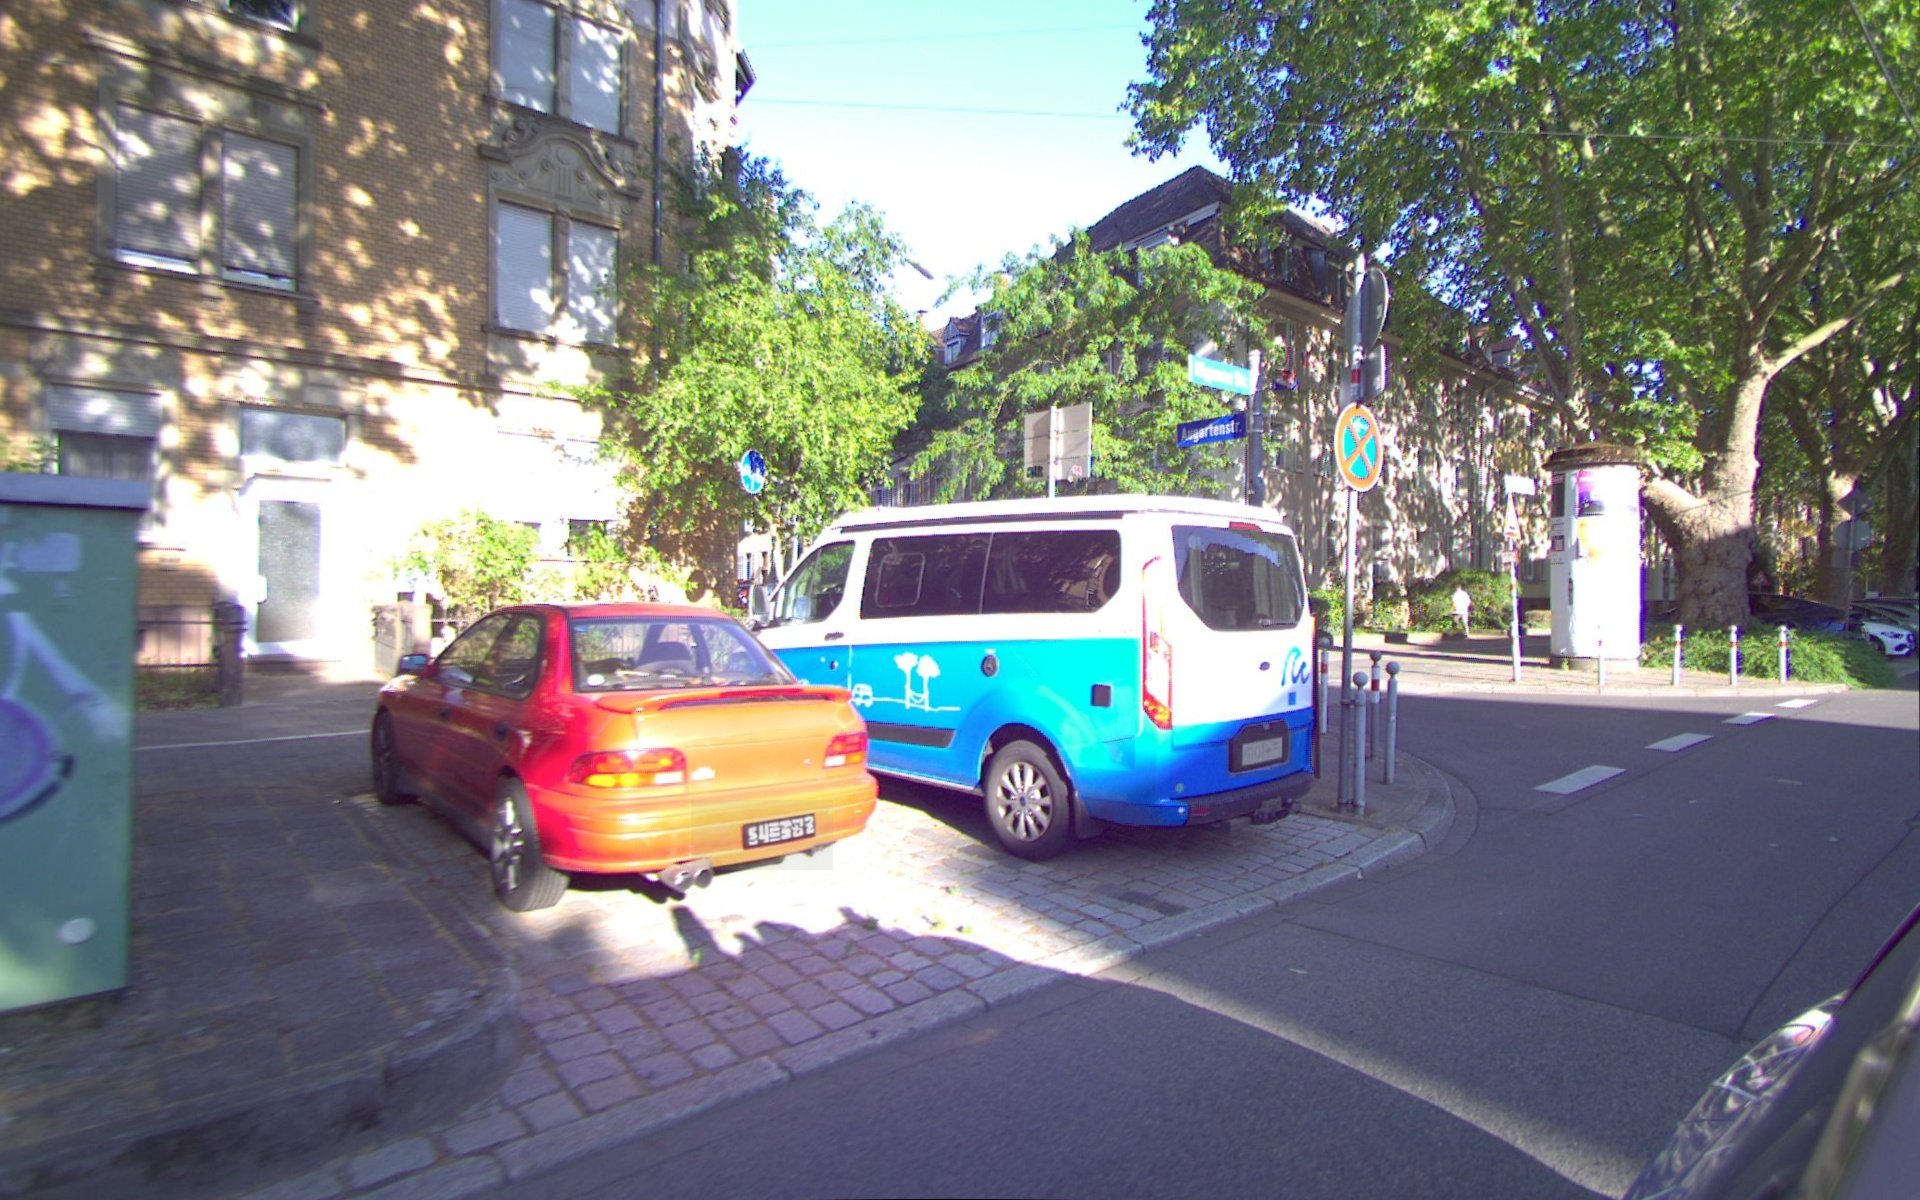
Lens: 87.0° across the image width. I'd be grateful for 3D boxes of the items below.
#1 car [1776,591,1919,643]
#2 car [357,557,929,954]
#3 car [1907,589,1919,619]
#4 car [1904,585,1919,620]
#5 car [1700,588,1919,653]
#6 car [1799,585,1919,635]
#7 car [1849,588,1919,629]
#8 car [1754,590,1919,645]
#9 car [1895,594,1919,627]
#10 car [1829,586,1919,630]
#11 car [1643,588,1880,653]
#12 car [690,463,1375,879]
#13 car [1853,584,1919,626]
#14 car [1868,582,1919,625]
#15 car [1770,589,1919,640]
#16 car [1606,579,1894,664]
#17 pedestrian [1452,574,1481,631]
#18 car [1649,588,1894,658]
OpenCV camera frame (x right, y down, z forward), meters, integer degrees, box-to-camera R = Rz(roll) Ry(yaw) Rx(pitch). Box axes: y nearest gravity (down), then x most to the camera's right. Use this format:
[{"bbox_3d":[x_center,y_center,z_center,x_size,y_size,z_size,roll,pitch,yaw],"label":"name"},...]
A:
[{"bbox_3d":[29.407,0.532,32.533,1.858,1.513,4.614,1,1,-37],"label":"car"},{"bbox_3d":[-2.083,0.540,5.907,1.760,1.506,3.788,0,2,-42],"label":"car"},{"bbox_3d":[58.024,0.277,58.460,1.858,1.737,4.614,1,1,-37],"label":"car"},{"bbox_3d":[52.769,0.188,53.024,1.858,1.814,4.614,1,1,-37],"label":"car"},{"bbox_3d":[23.039,0.496,27.320,1.858,1.513,4.614,1,1,-37],"label":"car"},{"bbox_3d":[32.556,0.348,35.422,1.858,1.661,4.614,1,1,-37],"label":"car"},{"bbox_3d":[40.447,0.380,42.352,1.858,1.661,4.614,1,1,-37],"label":"car"},{"bbox_3d":[27.619,0.517,31.192,1.858,1.513,4.614,1,1,-37],"label":"car"},{"bbox_3d":[50.973,0.583,51.579,1.858,1.661,4.614,1,1,-37],"label":"car"},{"bbox_3d":[37.410,0.342,39.812,1.858,1.661,4.614,1,1,-37],"label":"car"},{"bbox_3d":[20.728,0.472,26.360,1.858,1.462,4.511,1,1,-37],"label":"car"},{"bbox_3d":[0.180,0.251,7.464,2.158,2.038,4.851,0,2,-43],"label":"car"},{"bbox_3d":[42.197,0.246,44.102,1.858,1.814,4.614,1,1,-37],"label":"car"},{"bbox_3d":[46.648,0.198,48.307,1.858,2.039,4.639,1,1,-37],"label":"car"},{"bbox_3d":[30.788,0.465,34.519,1.858,1.585,4.614,1,1,-37],"label":"car"},{"bbox_3d":[17.594,0.414,22.759,1.859,1.652,4.808,1,1,-40],"label":"car"},{"bbox_3d":[16.049,0.084,32.073,0.630,1.790,0.620,0,0,4],"label":"pedestrian"},{"bbox_3d":[19.393,0.495,24.340,1.860,1.462,4.363,1,1,-42],"label":"car"}]
